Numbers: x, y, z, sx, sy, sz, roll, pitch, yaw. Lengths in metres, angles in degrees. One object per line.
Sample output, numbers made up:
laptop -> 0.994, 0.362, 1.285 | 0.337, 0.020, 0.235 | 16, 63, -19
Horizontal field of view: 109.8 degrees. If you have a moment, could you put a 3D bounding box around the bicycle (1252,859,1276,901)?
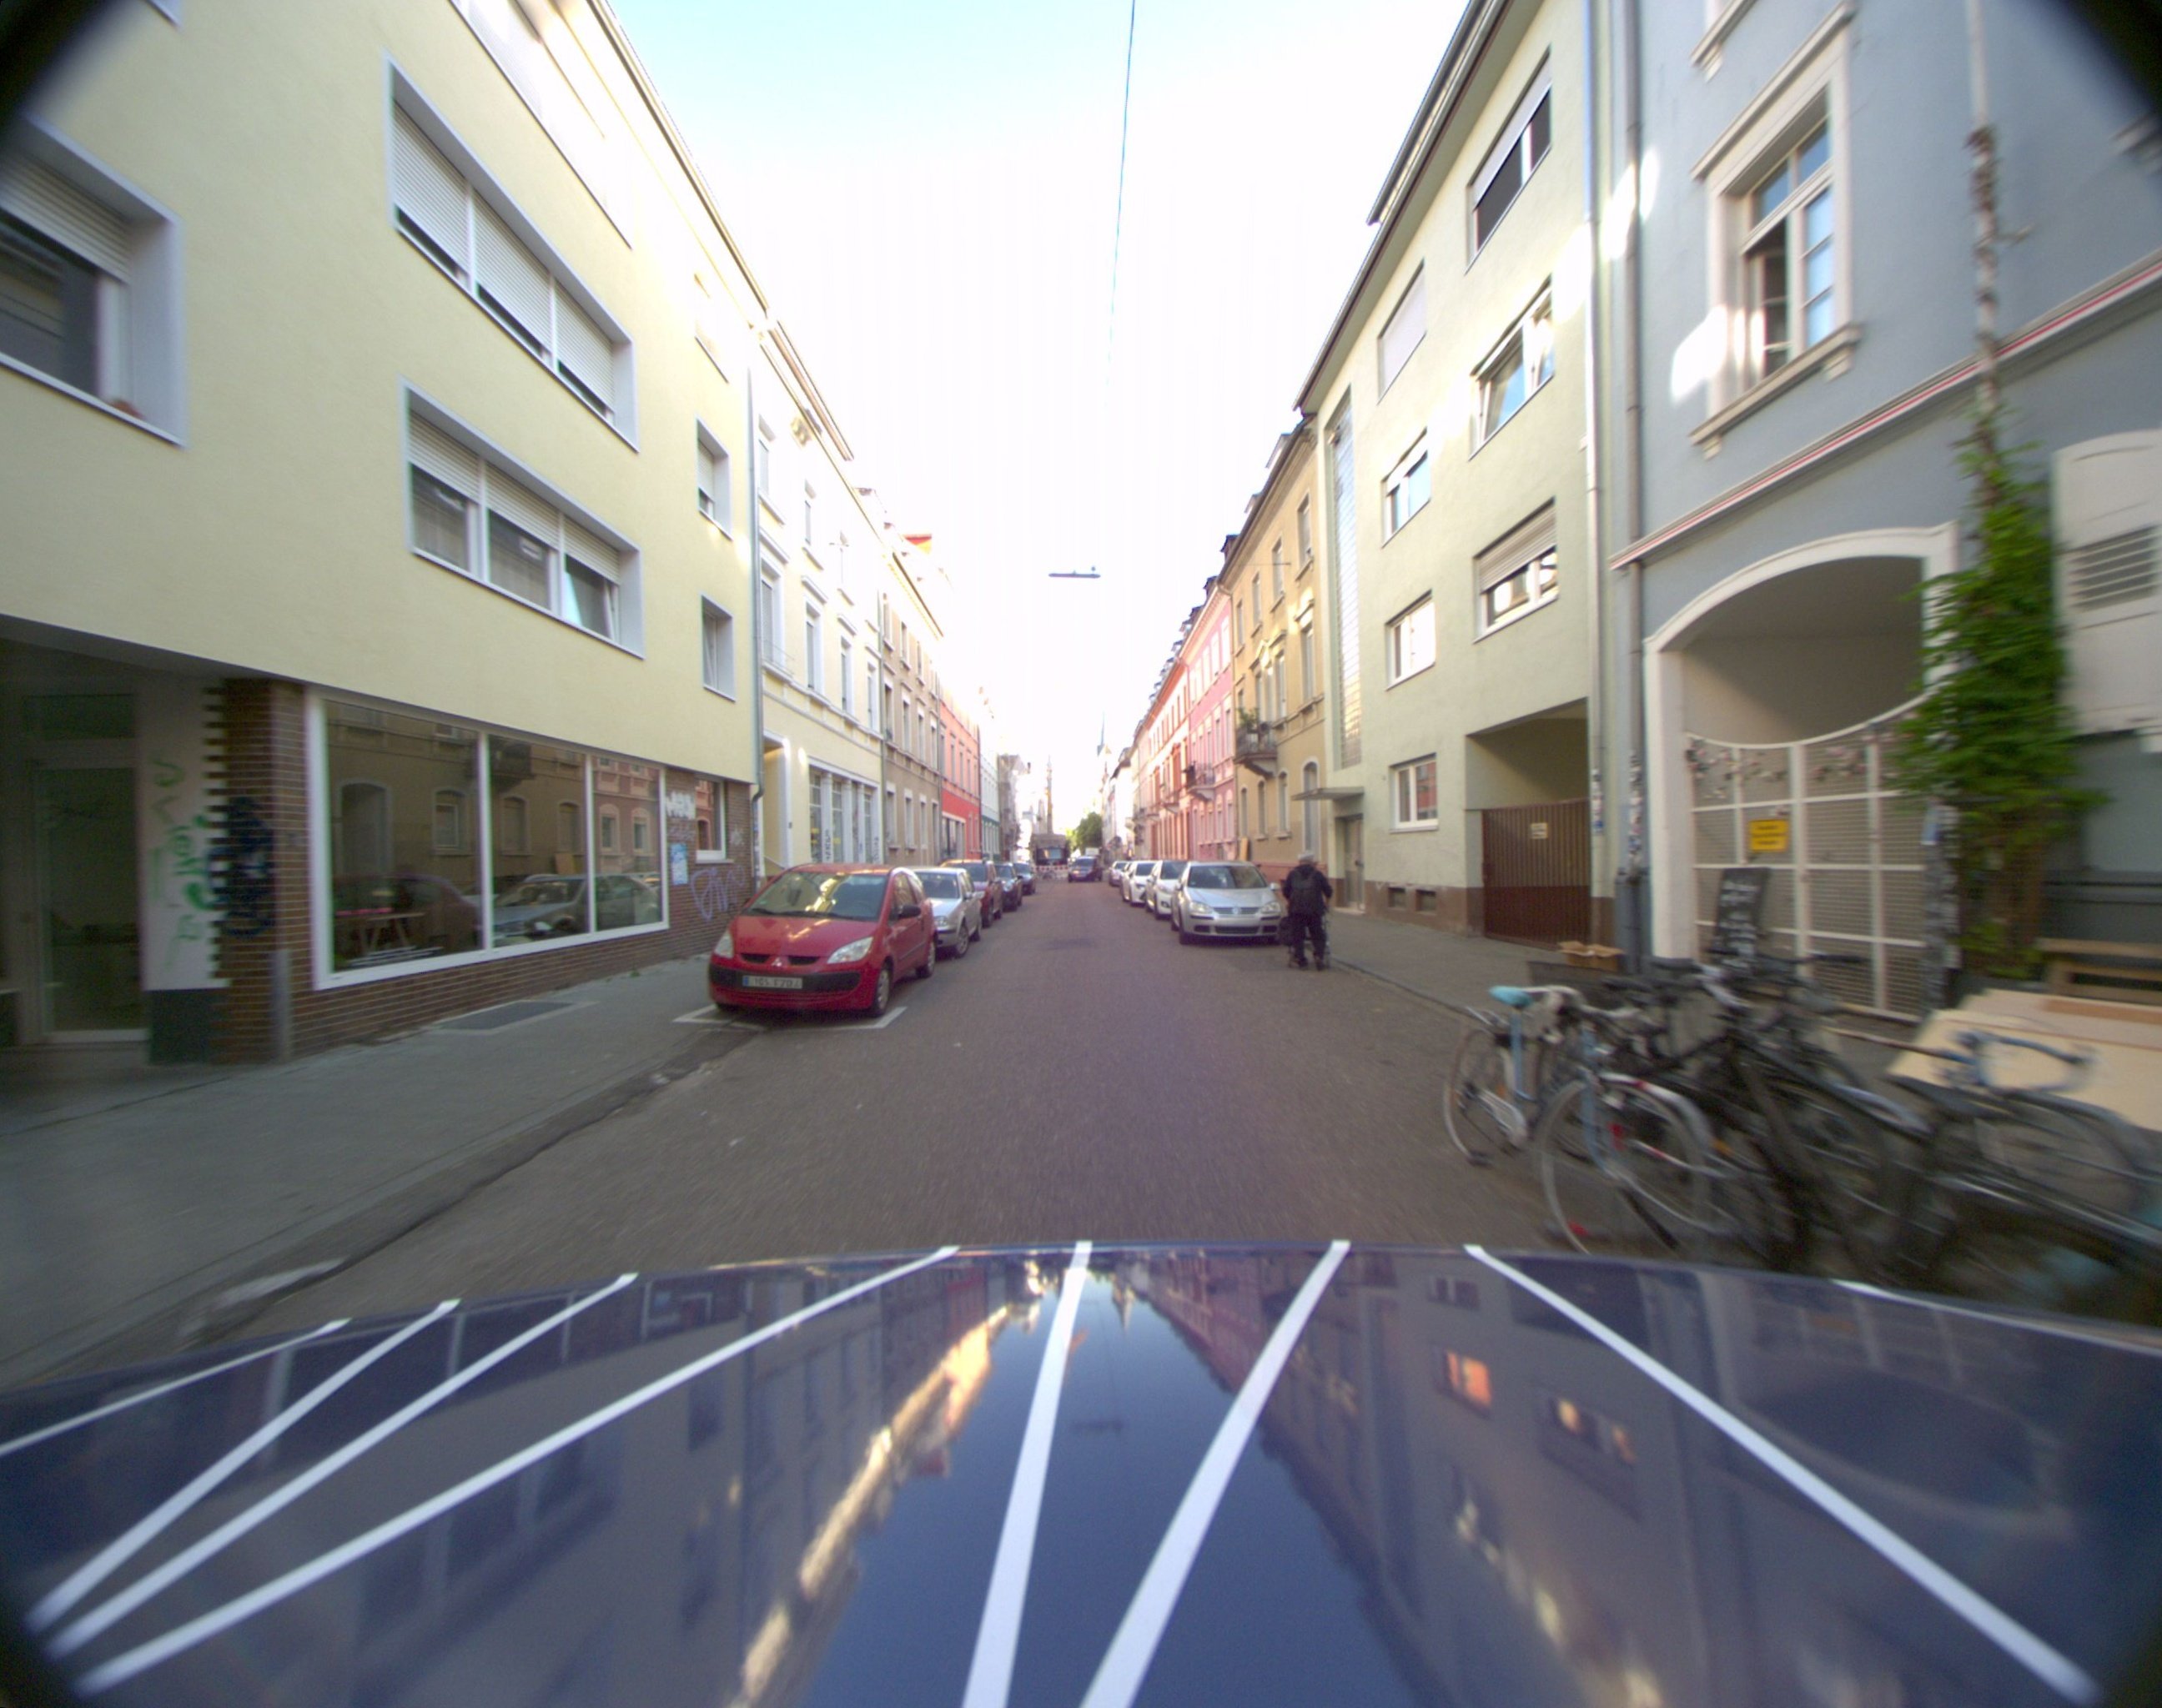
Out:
bicycle -> 5.667, 0.788, 23.591 | 0.319, 1.253, 1.494 | -2, 0, -1

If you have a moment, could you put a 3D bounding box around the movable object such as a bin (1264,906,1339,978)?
movable object such as a bin -> 3.068, 1.219, 10.623 | 0.846, 0.892, 0.585 | -2, 1, 0

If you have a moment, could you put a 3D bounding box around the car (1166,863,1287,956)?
car -> 2.562, 0.906, 14.237 | 1.684, 1.446, 4.034 | 0, 0, 3

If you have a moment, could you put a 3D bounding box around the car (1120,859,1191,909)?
car -> 2.344, 0.917, 24.743 | 1.792, 1.454, 4.199 | 0, 0, -1

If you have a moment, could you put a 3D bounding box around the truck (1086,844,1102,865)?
truck -> 2.120, 0.038, 125.765 | 2.524, 3.271, 6.642 | -1, 0, 0

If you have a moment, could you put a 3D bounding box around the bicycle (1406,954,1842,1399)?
bicycle -> 2.043, 1.102, 3.224 | 0.500, 1.099, 1.829 | -2, 0, -1

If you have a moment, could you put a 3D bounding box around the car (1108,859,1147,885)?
car -> 2.521, 0.959, 42.053 | 1.771, 1.335, 4.380 | 0, 0, -1

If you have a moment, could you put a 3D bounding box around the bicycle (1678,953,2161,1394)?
bicycle -> 3.382, 1.078, 3.148 | 0.444, 1.099, 1.697 | -2, 0, -1

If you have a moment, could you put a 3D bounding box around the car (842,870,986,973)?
car -> -2.721, 1.043, 13.311 | 1.693, 1.444, 4.193 | 0, 0, -2

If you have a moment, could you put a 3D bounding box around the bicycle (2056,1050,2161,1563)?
bicycle -> 2.973, 1.092, 1.539 | 0.815, 1.168, 0.920 | -2, 0, -2

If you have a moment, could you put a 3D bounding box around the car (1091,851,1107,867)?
car -> 2.264, 0.641, 97.123 | 1.998, 2.002, 4.258 | -1, 0, 0

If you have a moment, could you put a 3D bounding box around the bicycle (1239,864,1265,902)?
bicycle -> 5.281, 0.877, 23.531 | 0.418, 1.095, 1.494 | -2, 0, -1

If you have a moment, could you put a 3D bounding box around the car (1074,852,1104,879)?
car -> 0.509, 0.733, 49.362 | 1.832, 1.650, 4.213 | -1, 0, 0

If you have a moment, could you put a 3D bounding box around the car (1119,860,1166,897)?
car -> 2.483, 0.976, 31.679 | 1.731, 1.382, 4.303 | 0, 0, 2

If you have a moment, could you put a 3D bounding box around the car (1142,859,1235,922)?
car -> 2.670, 0.863, 19.734 | 1.794, 1.443, 3.999 | -1, 0, -1

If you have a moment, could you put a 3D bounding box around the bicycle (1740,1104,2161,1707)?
bicycle -> 2.131, 1.203, 1.628 | 0.322, 0.911, 1.290 | -1, 0, 0

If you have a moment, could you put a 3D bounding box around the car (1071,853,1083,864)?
car -> -0.730, 0.813, 133.443 | 1.999, 1.749, 4.255 | -3, 0, -1

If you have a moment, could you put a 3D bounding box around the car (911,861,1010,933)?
car -> -2.856, 0.974, 18.828 | 1.794, 1.542, 4.000 | -1, 0, 0

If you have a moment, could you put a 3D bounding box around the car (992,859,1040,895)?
car -> -2.900, 1.011, 34.588 | 1.831, 1.474, 4.464 | 0, 0, -1

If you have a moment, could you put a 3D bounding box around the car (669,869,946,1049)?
car -> -2.779, 0.975, 8.733 | 1.701, 1.514, 3.980 | 0, 0, 1

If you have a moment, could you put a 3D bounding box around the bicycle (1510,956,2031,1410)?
bicycle -> 2.633, 1.126, 3.262 | 0.444, 1.099, 1.931 | -2, 0, -1

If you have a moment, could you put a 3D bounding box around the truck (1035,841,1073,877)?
truck -> -2.180, 0.398, 63.536 | 2.819, 2.735, 7.677 | -3, 0, -1

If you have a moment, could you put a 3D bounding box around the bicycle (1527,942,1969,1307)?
bicycle -> 2.981, 1.092, 3.703 | 0.444, 1.099, 1.874 | -2, 0, -2

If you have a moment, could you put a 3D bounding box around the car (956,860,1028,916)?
car -> -2.751, 1.010, 24.354 | 1.766, 1.513, 4.380 | -2, 0, -1

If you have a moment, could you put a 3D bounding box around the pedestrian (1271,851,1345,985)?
pedestrian -> 3.000, 0.818, 10.077 | 0.715, 1.698, 0.672 | -2, 1, -1

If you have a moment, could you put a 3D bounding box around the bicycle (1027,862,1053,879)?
bicycle -> -2.884, 1.136, 53.224 | 1.713, 1.130, 0.470 | -3, 1, -12
